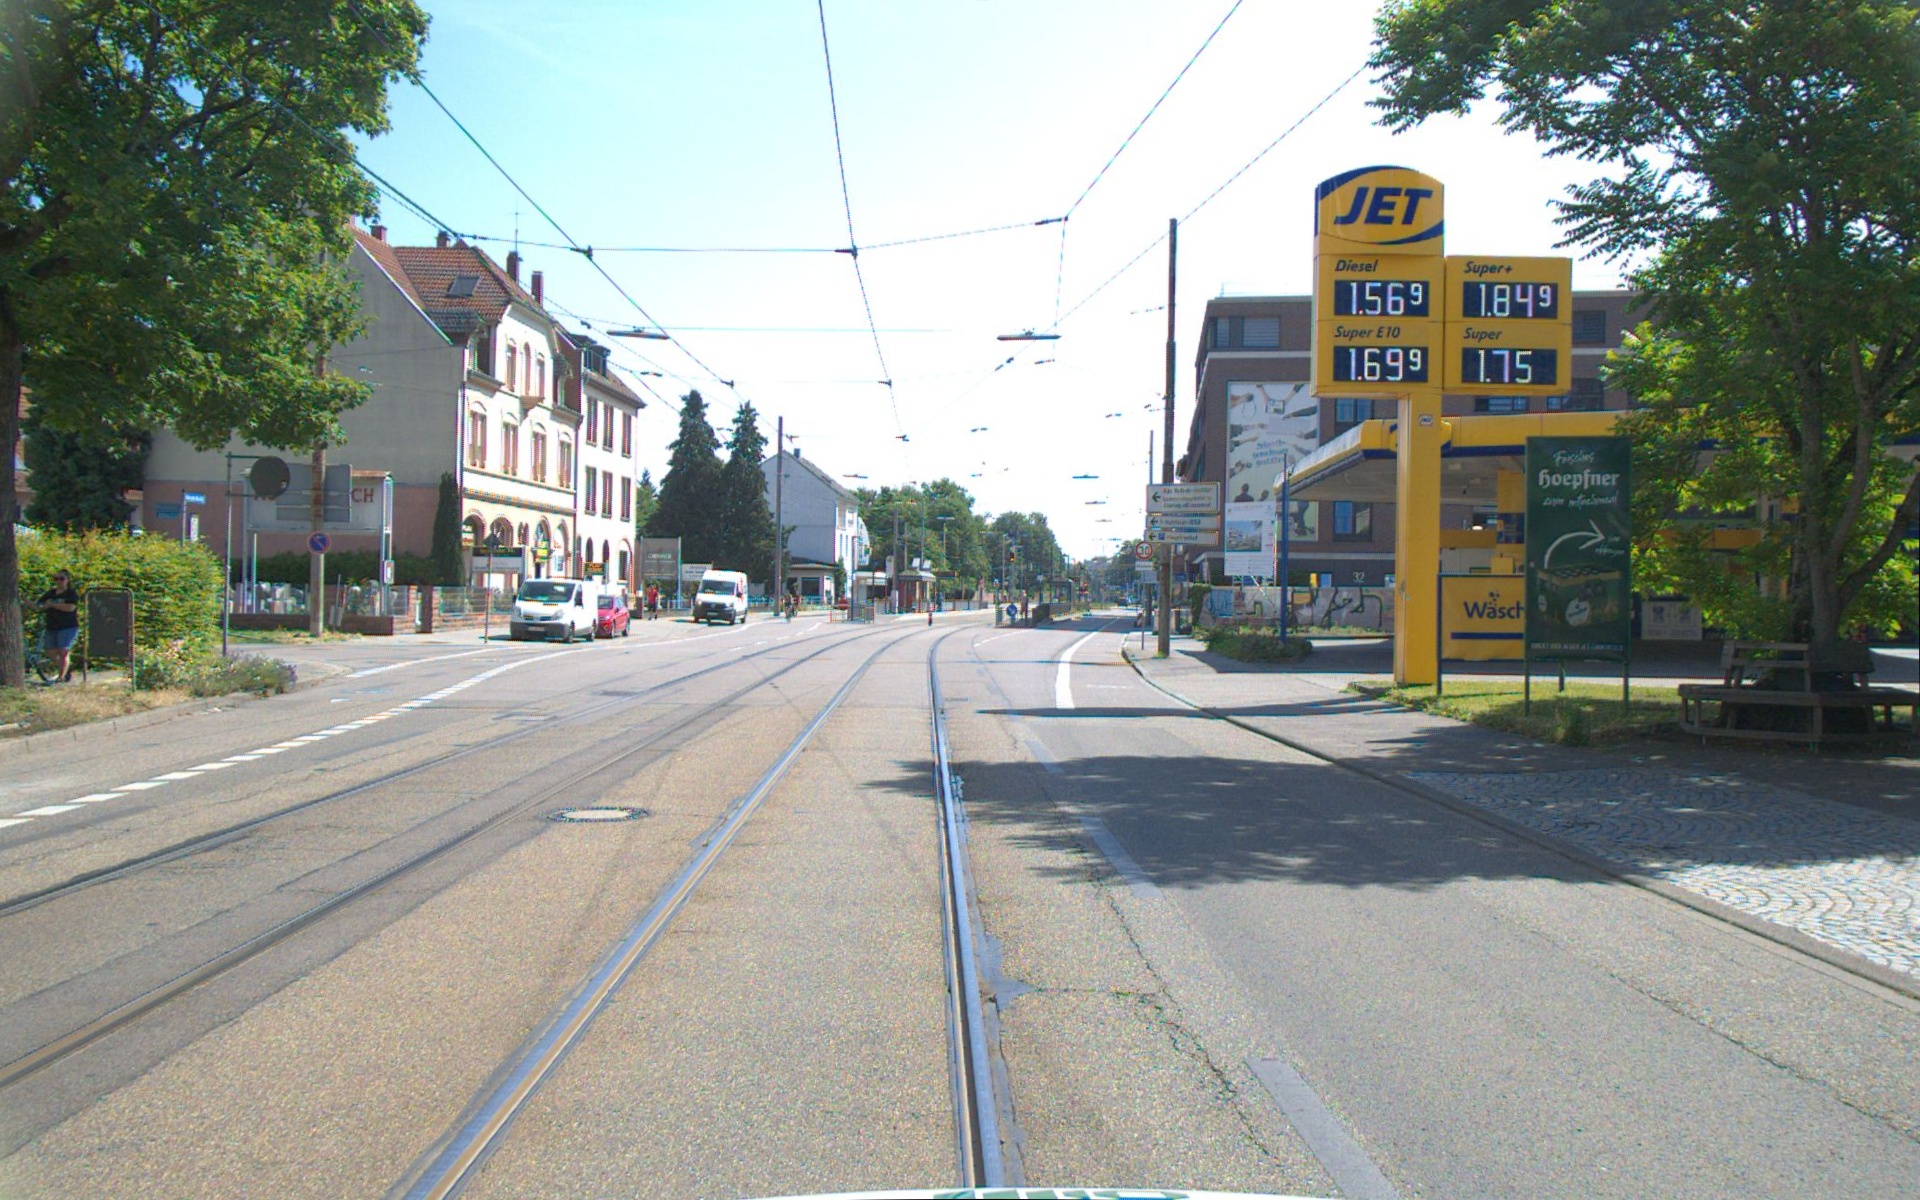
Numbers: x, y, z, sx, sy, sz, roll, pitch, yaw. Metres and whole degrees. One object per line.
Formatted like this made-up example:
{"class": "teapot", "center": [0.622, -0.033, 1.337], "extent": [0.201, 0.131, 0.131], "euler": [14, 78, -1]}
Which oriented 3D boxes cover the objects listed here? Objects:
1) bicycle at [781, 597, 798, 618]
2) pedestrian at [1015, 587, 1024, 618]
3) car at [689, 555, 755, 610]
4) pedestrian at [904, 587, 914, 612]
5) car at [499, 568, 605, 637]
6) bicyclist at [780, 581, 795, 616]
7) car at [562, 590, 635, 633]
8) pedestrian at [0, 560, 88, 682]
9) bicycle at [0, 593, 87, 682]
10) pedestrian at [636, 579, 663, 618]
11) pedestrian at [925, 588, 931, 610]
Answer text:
{"class": "bicycle", "center": [-8.738, 0.377, 84.830], "extent": [0.596, 1.001, 2.164], "euler": [1, 0, 1]}
{"class": "pedestrian", "center": [3.511, 0.150, 97.566], "extent": [0.544, 1.791, 0.793], "euler": [0, 0, 1]}
{"class": "car", "center": [-11.795, -0.884, 82.485], "extent": [2.281, 2.580, 6.507], "euler": [1, 1, 1]}
{"class": "pedestrian", "center": [-3.594, -0.048, 115.947], "extent": [0.691, 1.719, 0.416], "euler": [1, 0, -1]}
{"class": "car", "center": [-12.798, 0.063, 52.228], "extent": [2.041, 2.049, 4.909], "euler": [1, 0, 1]}
{"class": "bicyclist", "center": [-8.845, -0.093, 84.808], "extent": [0.701, 1.754, 0.988], "euler": [1, 0, -1]}
{"class": "car", "center": [-12.719, 0.382, 58.451], "extent": [1.685, 1.431, 4.001], "euler": [1, 0, 0]}
{"class": "pedestrian", "center": [-12.455, 0.275, 22.494], "extent": [0.673, 1.590, 0.987], "euler": [2, 0, -5]}
{"class": "bicycle", "center": [-12.688, 0.483, 22.454], "extent": [0.623, 1.137, 2.066], "euler": [0, 0, -2]}
{"class": "pedestrian", "center": [-14.902, -0.093, 79.335], "extent": [0.922, 1.847, 1.131], "euler": [1, 0, 9]}
{"class": "pedestrian", "center": [-2.444, -0.093, 126.750], "extent": [0.407, 1.719, 0.706], "euler": [1, 0, -7]}
